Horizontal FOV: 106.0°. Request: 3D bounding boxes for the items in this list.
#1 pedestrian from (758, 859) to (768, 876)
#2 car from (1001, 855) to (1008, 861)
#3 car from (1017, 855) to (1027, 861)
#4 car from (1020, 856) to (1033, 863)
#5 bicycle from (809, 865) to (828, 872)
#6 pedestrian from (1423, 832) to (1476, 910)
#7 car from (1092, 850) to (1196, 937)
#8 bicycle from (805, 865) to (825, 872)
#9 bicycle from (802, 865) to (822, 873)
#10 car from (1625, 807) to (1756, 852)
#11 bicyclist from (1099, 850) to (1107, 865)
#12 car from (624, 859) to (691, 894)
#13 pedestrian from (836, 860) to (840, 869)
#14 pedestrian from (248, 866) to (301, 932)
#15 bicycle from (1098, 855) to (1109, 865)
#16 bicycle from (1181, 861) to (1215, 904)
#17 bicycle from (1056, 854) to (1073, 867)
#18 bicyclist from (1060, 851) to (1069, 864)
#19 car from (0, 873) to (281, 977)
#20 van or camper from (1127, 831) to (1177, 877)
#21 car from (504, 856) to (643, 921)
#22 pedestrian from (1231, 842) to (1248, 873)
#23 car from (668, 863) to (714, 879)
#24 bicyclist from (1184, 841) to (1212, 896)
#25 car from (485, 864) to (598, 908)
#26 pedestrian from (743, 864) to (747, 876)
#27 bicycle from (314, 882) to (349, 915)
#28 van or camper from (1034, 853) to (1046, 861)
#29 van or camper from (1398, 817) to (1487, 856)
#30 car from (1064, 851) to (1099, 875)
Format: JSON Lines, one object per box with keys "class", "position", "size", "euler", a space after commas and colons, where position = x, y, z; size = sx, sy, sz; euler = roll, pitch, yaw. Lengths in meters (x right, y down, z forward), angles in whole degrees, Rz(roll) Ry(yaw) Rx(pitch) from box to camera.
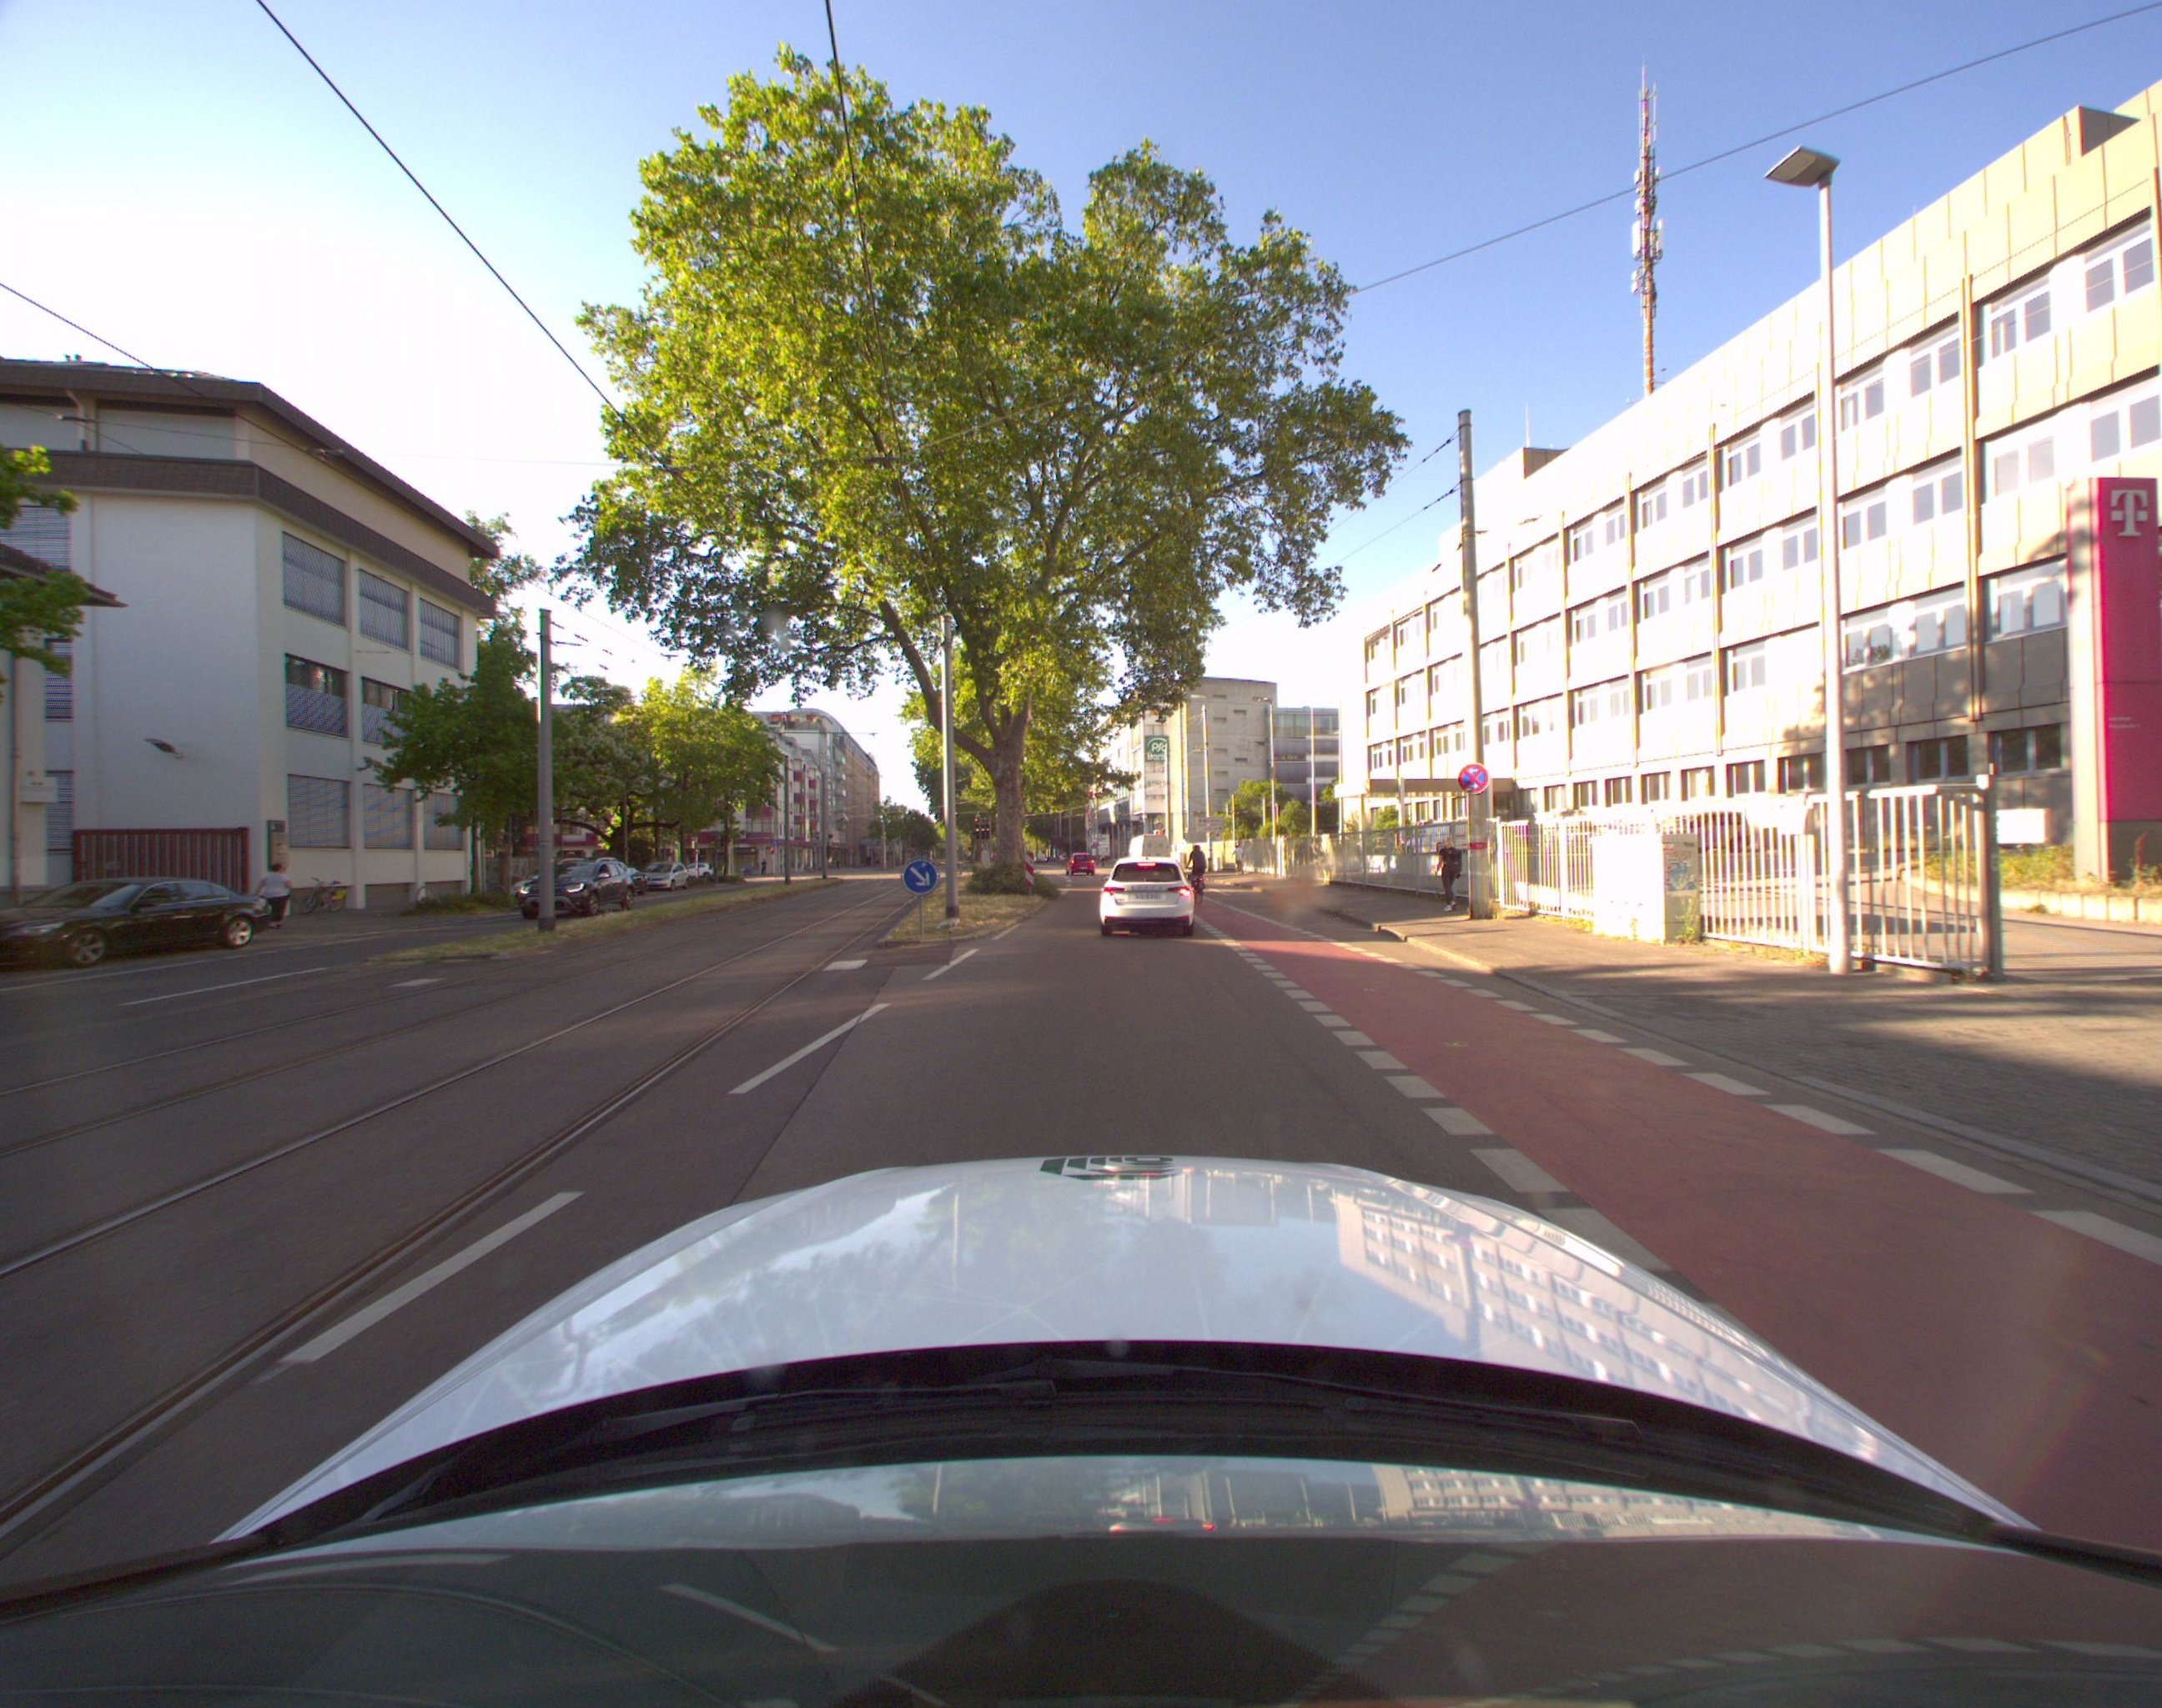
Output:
{"class": "pedestrian", "position": [-33.095, 1.406, 84.700], "size": [0.709, 1.662, 1.029], "euler": [-2, 0, -12]}
{"class": "car", "position": [-20.209, 1.127, 214.955], "size": [1.657, 1.607, 3.520], "euler": [-2, 0, -9]}
{"class": "car", "position": [-15.129, 0.967, 208.396], "size": [1.885, 1.528, 4.415], "euler": [-2, 0, -11]}
{"class": "car", "position": [-12.984, 1.362, 193.233], "size": [2.478, 1.528, 4.417], "euler": [-2, 0, -9]}
{"class": "bicycle", "position": [-31.636, 1.733, 98.242], "size": [2.170, 0.824, 0.526], "euler": [-2, 0, -12]}
{"class": "pedestrian", "position": [8.236, 0.365, 18.232], "size": [0.694, 1.684, 0.929], "euler": [-2, 0, -5]}
{"class": "car", "position": [1.354, 0.686, 16.164], "size": [1.792, 1.501, 3.989], "euler": [-1, 0, 7]}
{"class": "bicycle", "position": [-31.592, 1.748, 96.880], "size": [2.170, 0.787, 0.490], "euler": [-2, 0, -12]}
{"class": "bicycle", "position": [-31.742, 1.757, 96.090], "size": [2.170, 0.787, 0.638], "euler": [-2, 0, -12]}
{"class": "car", "position": [25.591, -1.009, 34.255], "size": [4.250, 1.718, 1.987], "euler": [-2, 0, -9]}
{"class": "bicyclist", "position": [2.555, 0.414, 95.271], "size": [0.785, 1.635, 0.637], "euler": [-1, 0, -10]}
{"class": "car", "position": [-22.873, 1.176, 44.194], "size": [1.994, 1.689, 4.163], "euler": [-2, 0, -10]}
{"class": "pedestrian", "position": [-39.170, 1.726, 131.106], "size": [0.511, 1.459, 0.525], "euler": [-2, 0, -14]}
{"class": "pedestrian", "position": [-20.434, 1.125, 20.638], "size": [0.635, 1.620, 0.729], "euler": [0, -1, -10]}
{"class": "bicycle", "position": [2.590, 0.669, 95.152], "size": [0.792, 1.161, 2.491], "euler": [-1, 0, -9]}
{"class": "bicycle", "position": [3.595, 0.856, 25.162], "size": [0.741, 1.224, 2.155], "euler": [0, 0, 0]}
{"class": "bicycle", "position": [-1.848, 0.680, 90.836], "size": [2.005, 1.379, 0.639], "euler": [-2, 0, -42]}
{"class": "bicyclist", "position": [-1.846, 0.405, 90.856], "size": [0.610, 1.388, 0.628], "euler": [-2, 0, -43]}
{"class": "car", "position": [-17.909, 1.195, 15.093], "size": [1.993, 1.513, 4.710], "euler": [-2, 0, -9]}
{"class": "van or camper", "position": [4.507, -0.002, 52.972], "size": [2.264, 2.733, 6.338], "euler": [1, 0, -4]}
{"class": "car", "position": [-14.914, 0.933, 24.245], "size": [1.994, 1.689, 4.295], "euler": [-2, 0, -10]}
{"class": "pedestrian", "position": [9.108, 0.184, 46.821], "size": [0.783, 1.748, 0.772], "euler": [-2, 0, 1]}
{"class": "car", "position": [-39.865, 1.735, 83.317], "size": [4.000, 1.464, 1.790], "euler": [-2, 0, -20]}
{"class": "bicyclist", "position": [3.601, 0.443, 25.097], "size": [0.741, 1.669, 0.745], "euler": [0, 0, 0]}
{"class": "car", "position": [-20.751, 1.182, 31.571], "size": [1.994, 1.470, 4.390], "euler": [-2, 0, -10]}
{"class": "pedestrian", "position": [-35.400, 1.717, 85.791], "size": [0.304, 1.214, 0.317], "euler": [-2, 0, -13]}
{"class": "bicycle", "position": [-24.208, 1.433, 26.331], "size": [0.303, 1.002, 1.015], "euler": [-2, 0, -10]}
{"class": "van or camper", "position": [-9.020, 0.705, 179.712], "size": [2.146, 1.750, 4.415], "euler": [-2, 0, -11]}
{"class": "van or camper", "position": [19.242, -0.890, 43.628], "size": [1.980, 1.908, 4.985], "euler": [-2, 0, -9]}
{"class": "car", "position": [-0.010, 0.587, 54.563], "size": [1.838, 1.489, 3.706], "euler": [-2, 0, -8]}
